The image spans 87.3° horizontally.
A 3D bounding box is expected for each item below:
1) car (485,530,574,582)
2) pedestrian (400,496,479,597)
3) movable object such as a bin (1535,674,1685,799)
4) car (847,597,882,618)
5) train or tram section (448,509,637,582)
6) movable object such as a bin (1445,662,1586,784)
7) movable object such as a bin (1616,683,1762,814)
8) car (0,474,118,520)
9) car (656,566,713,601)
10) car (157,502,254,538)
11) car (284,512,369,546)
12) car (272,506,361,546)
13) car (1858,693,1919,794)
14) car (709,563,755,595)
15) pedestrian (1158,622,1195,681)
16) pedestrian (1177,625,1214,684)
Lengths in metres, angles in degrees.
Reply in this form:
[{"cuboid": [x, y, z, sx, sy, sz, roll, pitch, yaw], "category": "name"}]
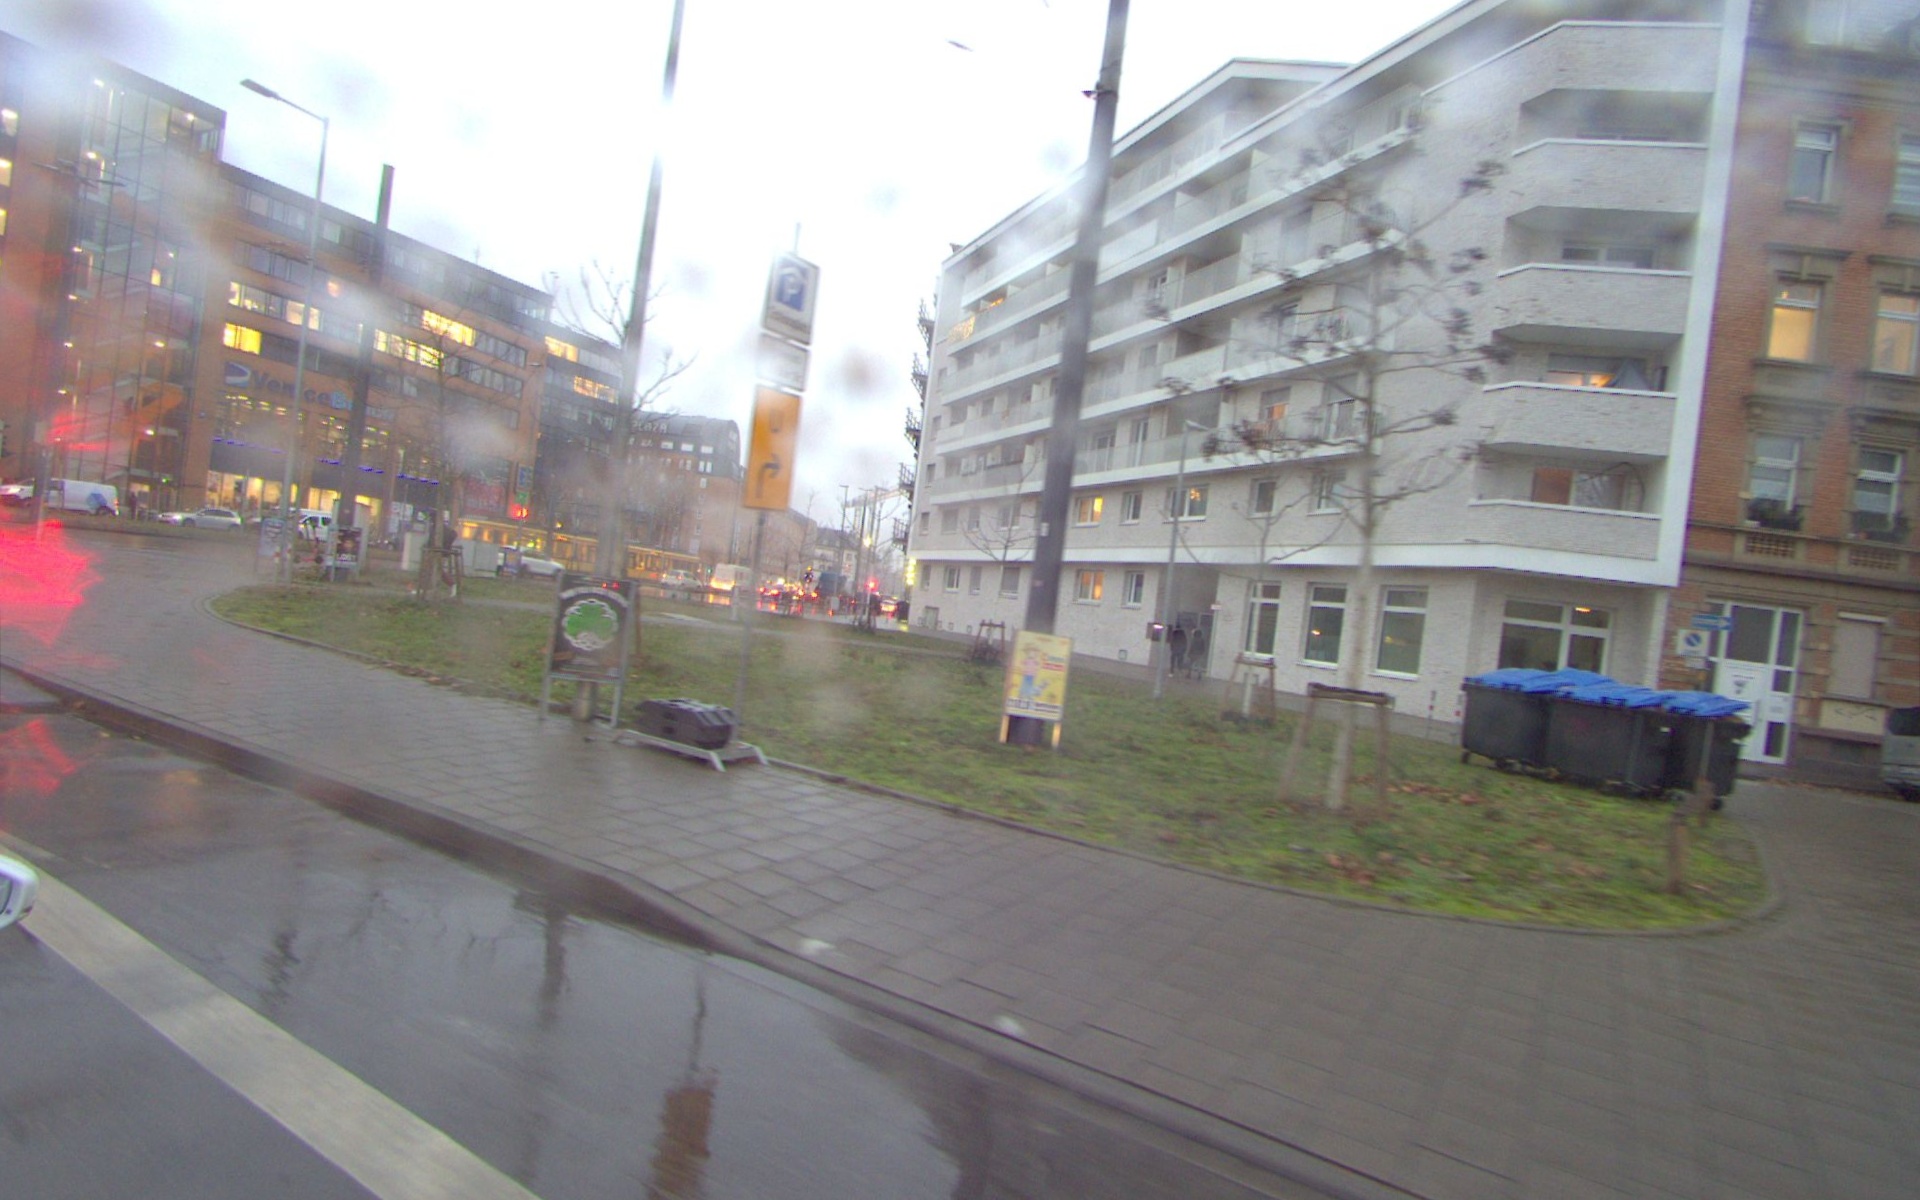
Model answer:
[{"cuboid": [-23.597, -2.370, 55.327, 1.962, 2.036, 4.376, 8, -2, 15], "category": "car"}, {"cuboid": [-11.181, -1.132, 21.612, 1.164, 1.945, 0.890, 10, -2, -36], "category": "pedestrian"}, {"cuboid": [8.728, 1.818, 13.553, 1.003, 1.434, 1.218, 6, 1, -21], "category": "movable object such as a bin"}, {"cuboid": [-9.502, 0.773, 100.272, 1.962, 1.600, 4.094, 8, -2, 15], "category": "car"}, {"cuboid": [-29.119, -3.619, 71.933, 2.293, 3.300, 16.667, 7, -1, 16], "category": "train or tram section"}, {"cuboid": [8.134, 1.783, 14.775, 1.017, 1.513, 1.322, 7, 0, -22], "category": "movable object such as a bin"}, {"cuboid": [9.816, 1.981, 13.586, 1.021, 1.507, 1.038, 9, -2, -12], "category": "movable object such as a bin"}, {"cuboid": [-47.334, -5.367, 52.793, 1.767, 1.614, 4.432, 7, -1, 24], "category": "car"}, {"cuboid": [-21.021, -1.245, 76.875, 1.963, 2.036, 4.004, 8, -2, 21], "category": "car"}, {"cuboid": [-44.767, -4.719, 59.776, 1.767, 1.406, 4.227, 7, -1, 24], "category": "car"}, {"cuboid": [-42.000, -4.663, 66.818, 1.767, 1.553, 4.444, 7, -1, 24], "category": "car"}, {"cuboid": [-44.378, -5.084, 69.461, 1.767, 2.025, 4.852, 7, 0, 25], "category": "car"}, {"cuboid": [21.378, 3.237, 20.173, 4.661, 1.940, 2.002, 9, -2, 3], "category": "car"}, {"cuboid": [-19.107, -1.744, 84.560, 1.962, 2.036, 4.956, 8, -2, 7], "category": "car"}, {"cuboid": [6.813, 1.613, 31.696, 0.670, 1.733, 0.601, 9, -1, -29], "category": "pedestrian"}, {"cuboid": [7.505, 1.735, 32.035, 0.670, 1.733, 0.625, 9, -1, -29], "category": "pedestrian"}]
